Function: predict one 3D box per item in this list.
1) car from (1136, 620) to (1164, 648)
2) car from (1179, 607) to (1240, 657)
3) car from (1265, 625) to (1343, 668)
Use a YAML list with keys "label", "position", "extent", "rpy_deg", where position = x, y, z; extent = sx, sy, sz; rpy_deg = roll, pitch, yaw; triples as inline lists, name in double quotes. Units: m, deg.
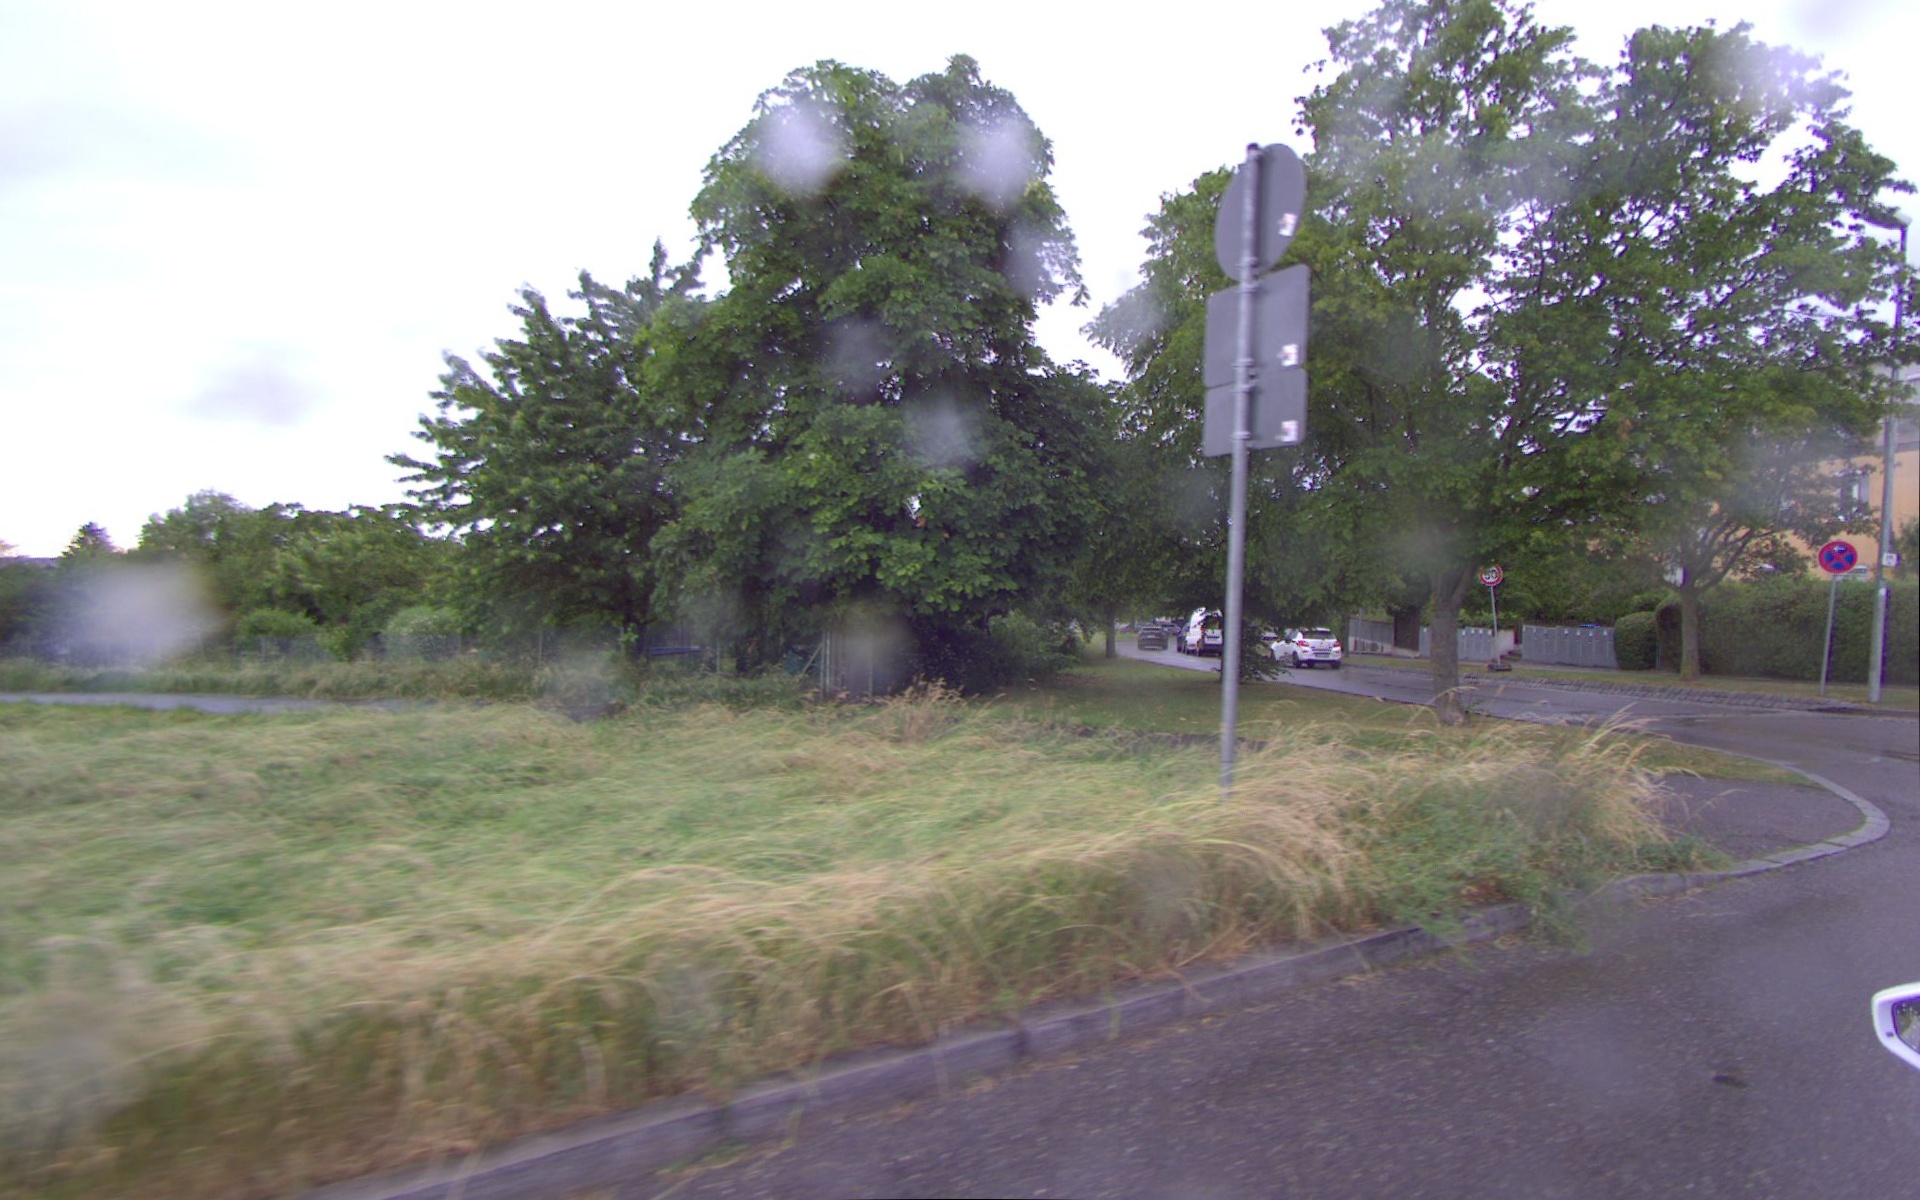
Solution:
- label: "car"
  position: [12.028, 2.122, 63.566]
  extent: [1.657, 1.573, 3.699]
  rpy_deg: [1, 1, 10]
- label: "car"
  position: [13.129, 1.662, 53.177]
  extent: [2.082, 2.500, 5.512]
  rpy_deg: [1, -1, 3]
- label: "car"
  position: [12.859, 1.707, 37.716]
  extent: [1.579, 1.522, 3.726]
  rpy_deg: [1, -1, -1]
